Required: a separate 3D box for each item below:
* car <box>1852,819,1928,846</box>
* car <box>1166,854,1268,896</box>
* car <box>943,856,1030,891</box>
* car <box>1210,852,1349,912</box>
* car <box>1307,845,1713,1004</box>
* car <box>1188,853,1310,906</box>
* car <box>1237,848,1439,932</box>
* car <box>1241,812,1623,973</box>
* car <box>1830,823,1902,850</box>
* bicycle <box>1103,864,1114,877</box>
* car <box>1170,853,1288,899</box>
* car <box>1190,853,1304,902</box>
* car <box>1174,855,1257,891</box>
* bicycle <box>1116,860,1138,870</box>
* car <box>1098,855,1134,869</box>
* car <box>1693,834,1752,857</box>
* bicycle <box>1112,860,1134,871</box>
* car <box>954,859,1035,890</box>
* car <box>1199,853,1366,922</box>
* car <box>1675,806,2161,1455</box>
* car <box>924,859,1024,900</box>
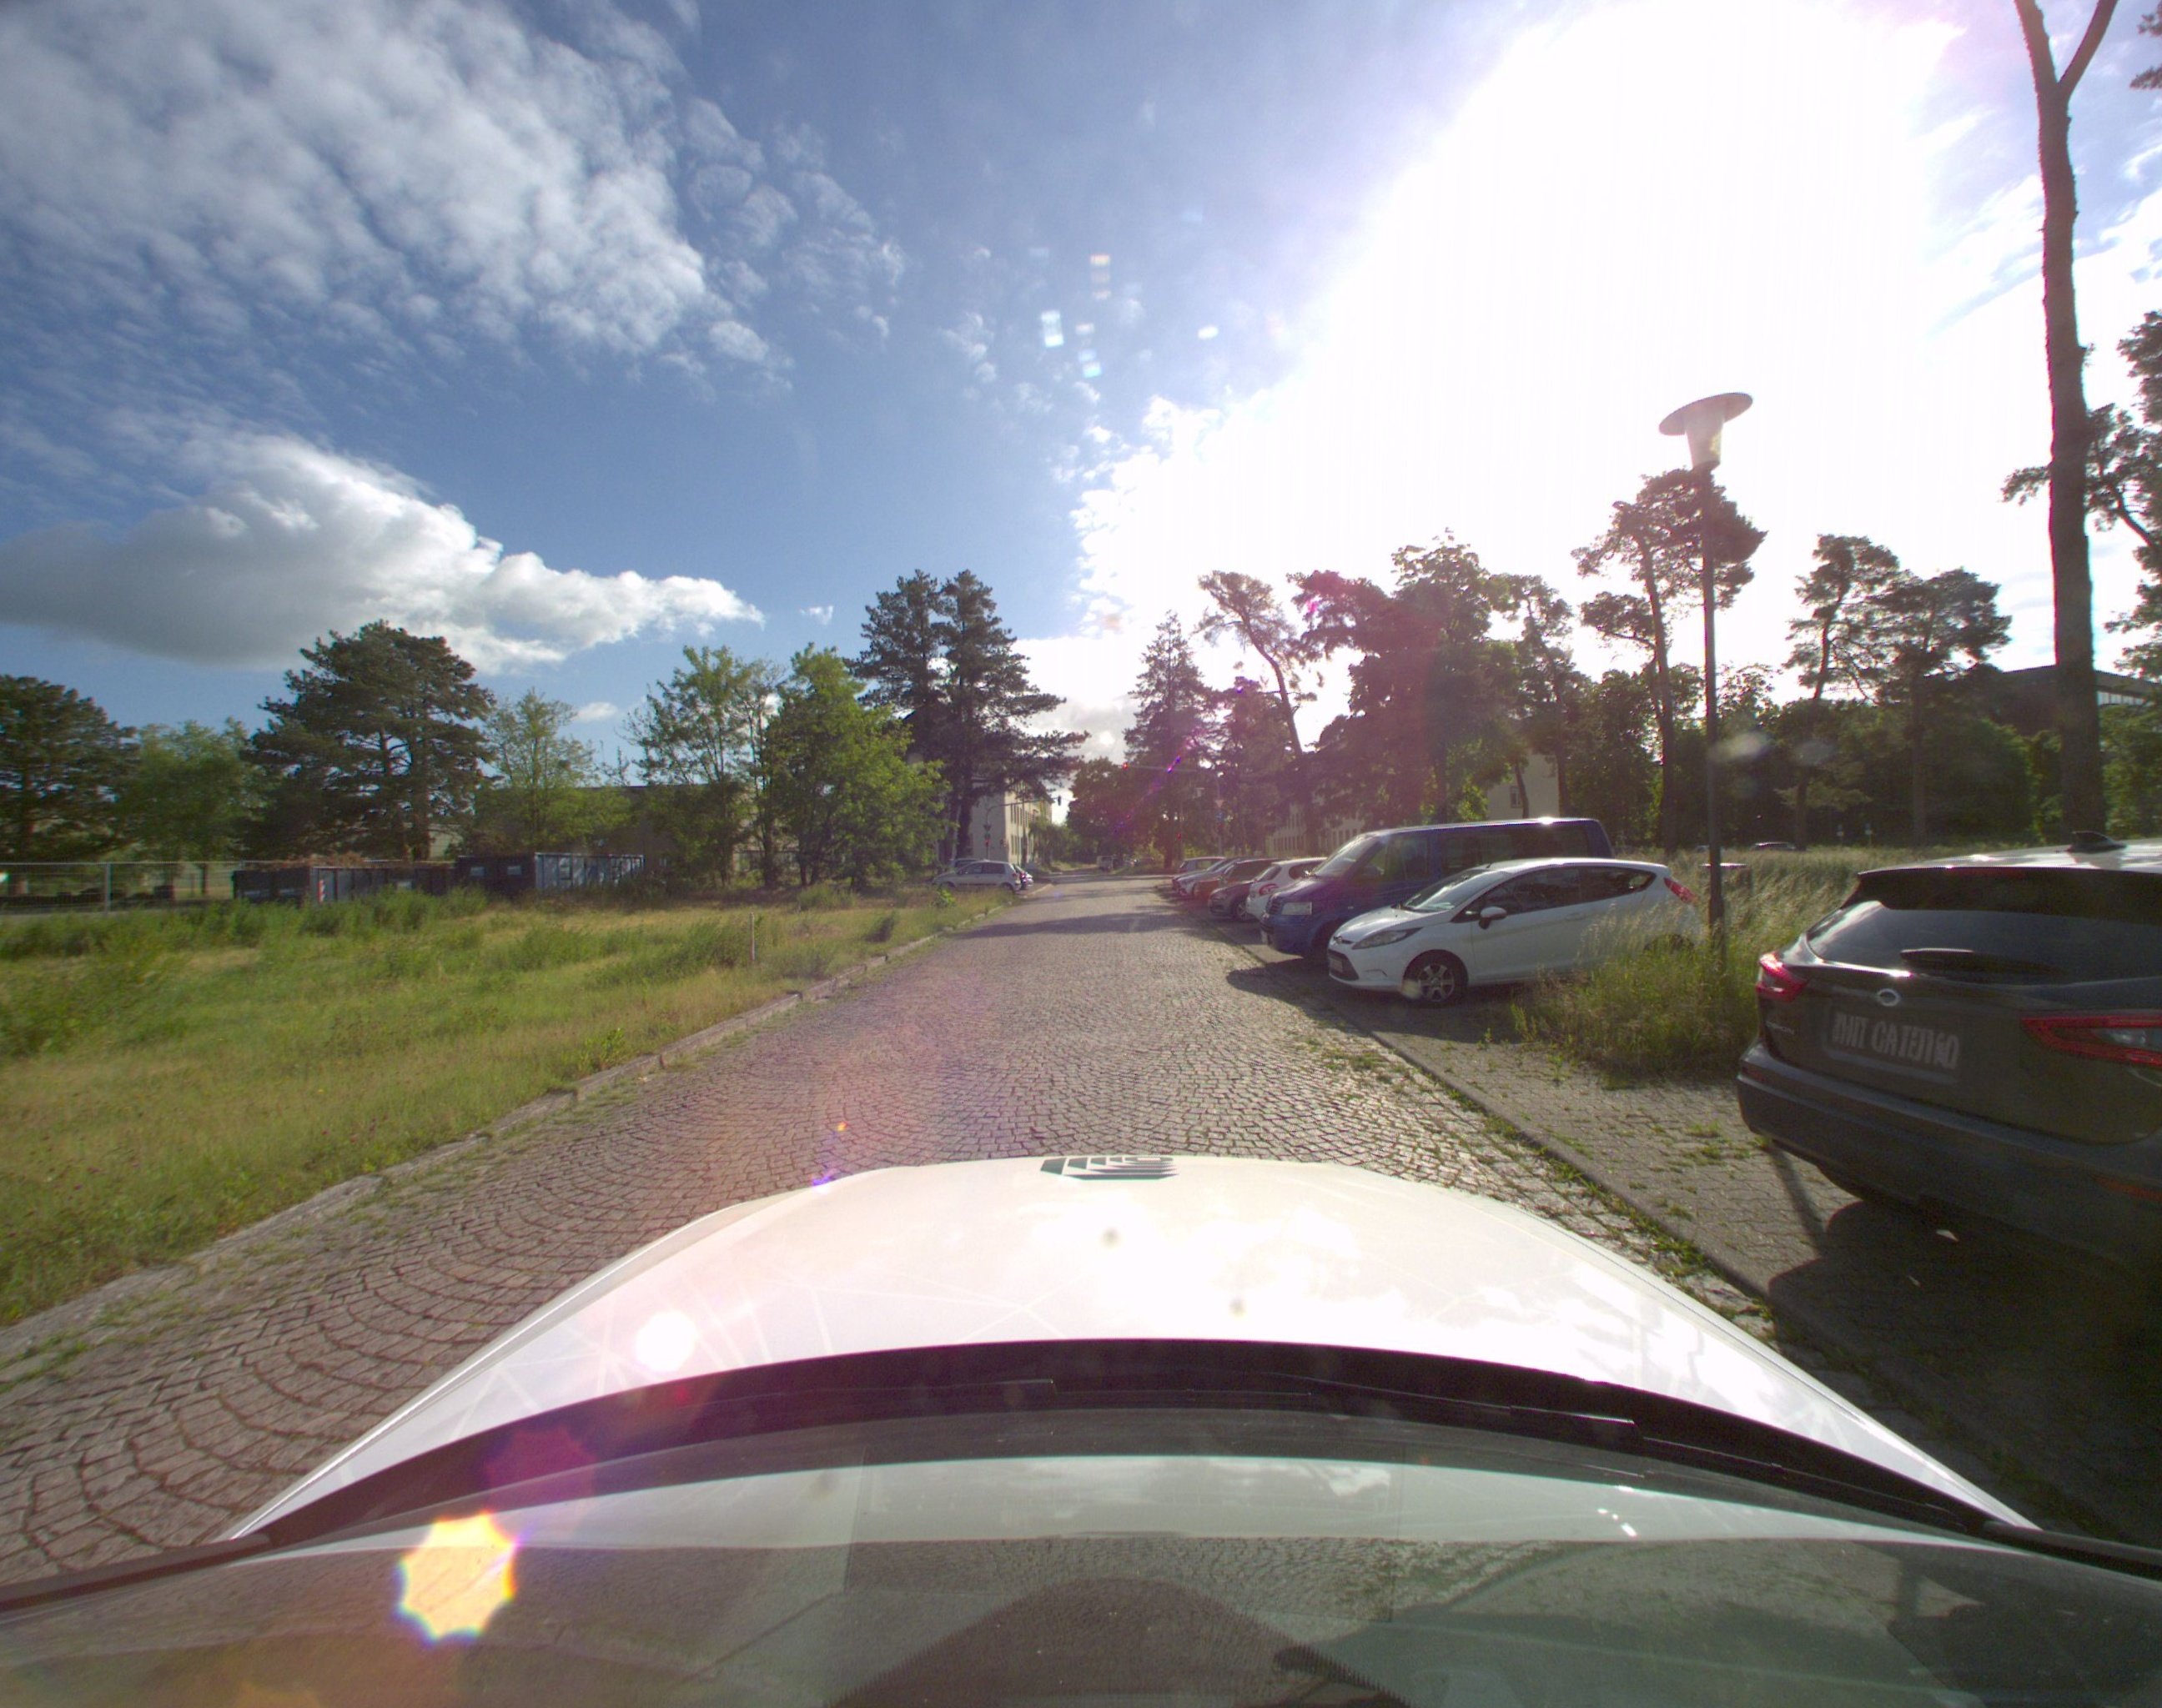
[{"bbox_3d":[64.158,-1.688,64.663,3.972,2.013,2.001,-2,0,1],"label":"car"},{"bbox_3d":[5.453,0.832,32.879,3.823,1.529,1.645,-2,0,0],"label":"car"},{"bbox_3d":[-4.646,0.943,40.359,3.973,1.601,2.000,2,0,1],"label":"car"},{"bbox_3d":[5.507,0.762,22.869,3.466,1.529,1.645,-2,0,0],"label":"car"},{"bbox_3d":[4.654,0.726,9.217,3.708,1.488,1.645,-2,0,-1],"label":"car"},{"bbox_3d":[5.214,0.780,25.569,3.466,1.529,1.645,-2,0,0],"label":"car"},{"bbox_3d":[5.269,0.724,17.065,3.680,1.466,1.646,-3,0,2],"label":"car"},{"bbox_3d":[4.902,0.508,11.894,4.664,2.013,2.082,-2,0,-2],"label":"car"},{"bbox_3d":[64.263,-1.428,66.721,3.972,2.013,2.001,-2,0,1],"label":"car"},{"bbox_3d":[2.711,1.620,81.137,0.803,1.169,2.177,-3,0,-4],"label":"bicycle"},{"bbox_3d":[5.415,0.797,30.107,4.024,1.529,1.644,-2,0,-2],"label":"car"},{"bbox_3d":[5.632,0.781,27.919,3.591,1.529,1.645,-2,0,0],"label":"car"},{"bbox_3d":[5.839,0.812,35.513,3.332,1.483,1.645,-2,0,0],"label":"car"},{"bbox_3d":[4.861,1.153,85.816,2.172,1.100,0.804,-1,0,-8],"label":"bicycle"},{"bbox_3d":[4.366,1.016,102.052,4.464,1.728,2.000,-1,0,1],"label":"car"},{"bbox_3d":[60.399,-0.765,76.698,3.972,2.013,2.001,-2,0,1],"label":"car"},{"bbox_3d":[4.311,1.232,84.568,2.172,1.100,0.804,-1,0,-8],"label":"bicycle"},{"bbox_3d":[-4.496,1.053,42.758,3.973,1.453,2.000,1,0,1],"label":"car"},{"bbox_3d":[4.848,0.796,19.963,3.663,1.467,1.645,-2,0,0],"label":"car"},{"bbox_3d":[4.652,0.641,2.795,3.923,1.621,1.772,-2,0,0],"label":"car"},{"bbox_3d":[-4.536,1.058,34.963,3.975,1.600,1.999,-2,0,-1],"label":"car"}]
